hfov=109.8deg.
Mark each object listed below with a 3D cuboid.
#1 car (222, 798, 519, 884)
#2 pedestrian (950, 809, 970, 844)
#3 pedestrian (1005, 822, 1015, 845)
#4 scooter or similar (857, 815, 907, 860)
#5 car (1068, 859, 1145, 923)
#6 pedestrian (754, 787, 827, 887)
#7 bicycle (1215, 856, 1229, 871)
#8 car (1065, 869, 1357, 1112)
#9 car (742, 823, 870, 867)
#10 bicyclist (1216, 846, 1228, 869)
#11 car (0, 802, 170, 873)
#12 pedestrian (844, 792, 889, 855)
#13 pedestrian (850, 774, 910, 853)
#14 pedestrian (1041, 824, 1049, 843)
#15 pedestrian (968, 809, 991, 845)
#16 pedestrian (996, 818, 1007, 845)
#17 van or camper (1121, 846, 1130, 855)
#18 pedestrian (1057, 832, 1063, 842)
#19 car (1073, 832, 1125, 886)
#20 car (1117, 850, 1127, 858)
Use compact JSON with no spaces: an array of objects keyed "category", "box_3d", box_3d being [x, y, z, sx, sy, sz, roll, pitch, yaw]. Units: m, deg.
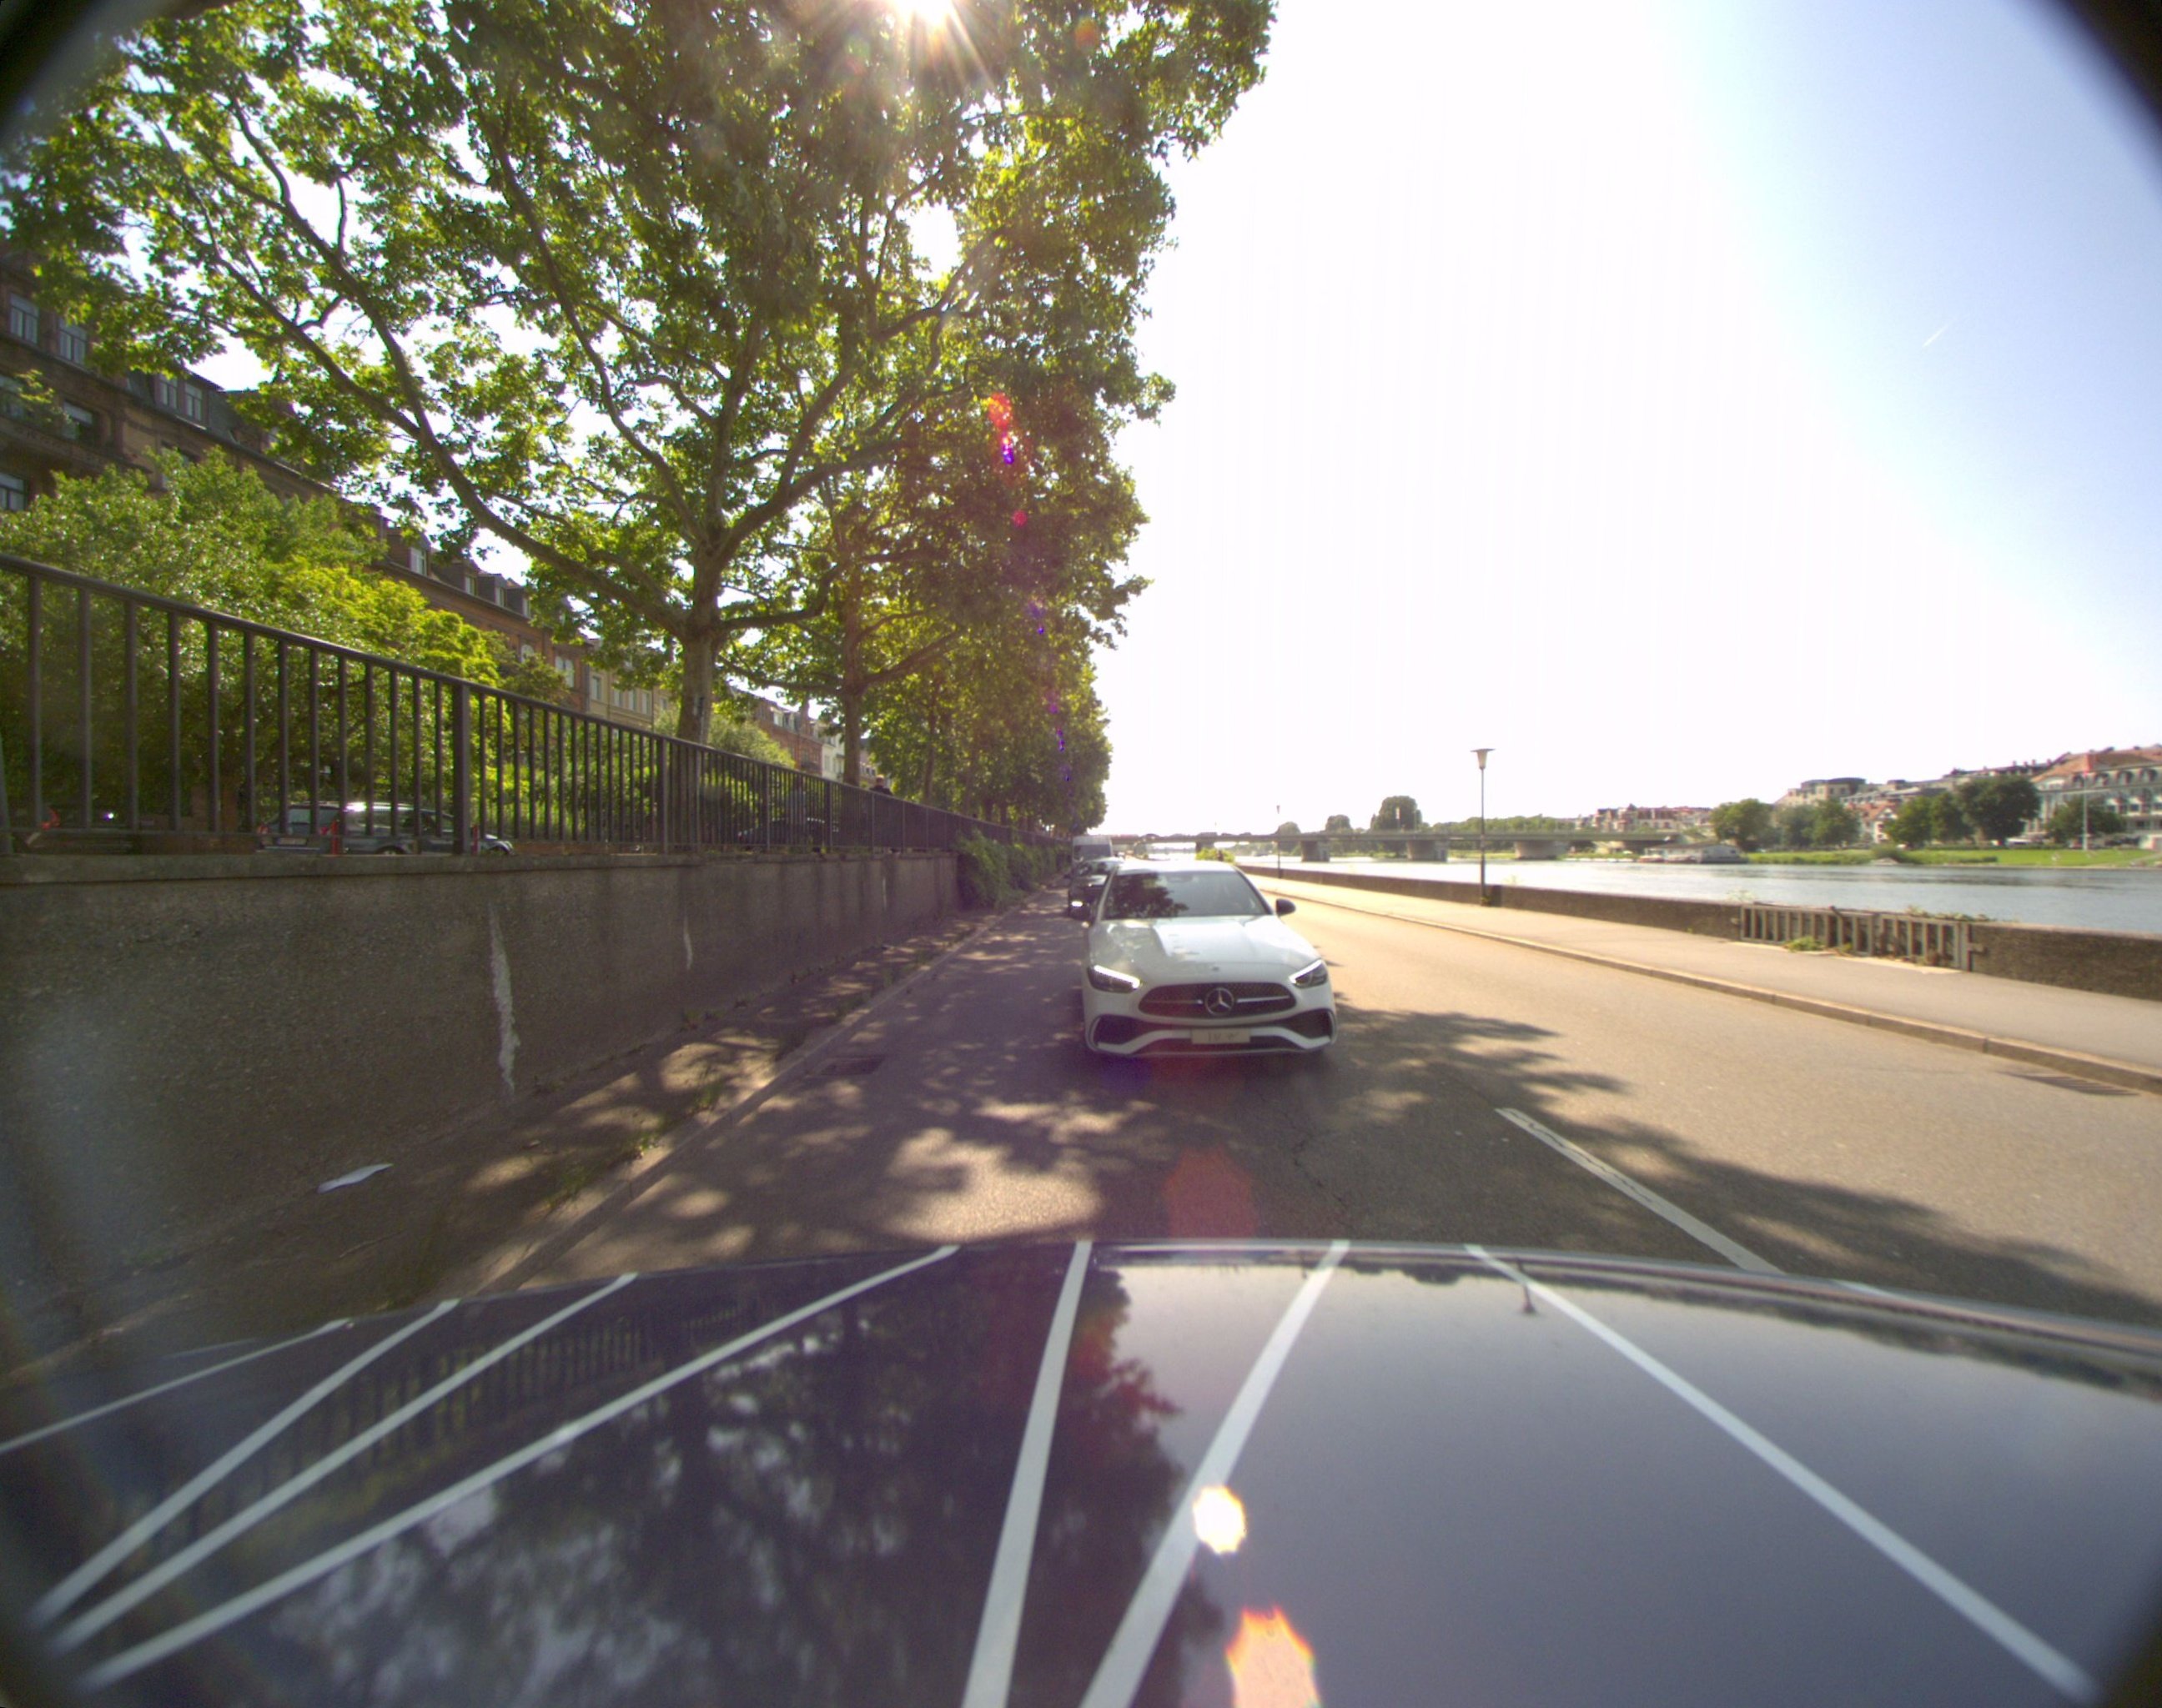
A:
[{"category":"car","box_3d":[-14.300,-0.240,15.743,1.841,1.504,4.429,1,0,3]},{"category":"pedestrian","box_3d":[-4.868,-1.082,30.480,0.645,1.358,0.794,2,1,-1]},{"category":"pedestrian","box_3d":[-4.419,-1.300,47.512,0.586,1.411,0.589,0,1,-7]},{"category":"scooter or similar","box_3d":[-4.723,-0.382,18.092,0.857,1.020,1.107,2,1,0]},{"category":"car","box_3d":[0.612,0.885,20.011,1.756,1.385,4.619,-2,0,0]},{"category":"pedestrian","box_3d":[-4.323,-0.244,11.354,0.682,1.416,0.949,2,1,0]},{"category":"bicycle","box_3d":[10.134,0.665,54.588,0.634,1.006,1.985,0,0,0]},{"category":"car","box_3d":[0.887,0.920,7.143,1.830,1.411,4.552,-2,0,1]},{"category":"car","box_3d":[-8.759,-0.283,24.268,3.528,1.228,1.515,2,1,11]},{"category":"bicyclist","box_3d":[10.128,0.248,54.587,0.639,1.664,0.871,0,1,0]},{"category":"car","box_3d":[-24.051,-0.338,17.590,3.794,1.528,1.792,-1,0,1]},{"category":"pedestrian","box_3d":[-4.827,-0.671,17.136,0.682,1.358,0.989,2,1,0]},{"category":"pedestrian","box_3d":[-4.173,-0.822,15.826,0.939,1.570,1.027,2,1,-1]},{"category":"pedestrian","box_3d":[-3.048,-1.725,64.621,0.666,1.582,0.651,0,1,1]},{"category":"pedestrian","box_3d":[-4.022,-1.056,30.131,0.755,1.358,0.814,2,1,-1]},{"category":"pedestrian","box_3d":[-4.973,-1.398,47.390,0.649,1.631,0.626,0,1,-7]},{"category":"van or camper","box_3d":[12.127,-0.848,207.091,2.082,2.384,5.384,1,0,1]},{"category":"pedestrian","box_3d":[-2.571,-2.142,93.752,0.713,1.236,0.742,0,1,0]},{"category":"car","box_3d":[0.837,0.213,37.536,2.351,2.429,6.208,0,0,0]},{"category":"car","box_3d":[8.113,-0.042,149.237,1.736,1.433,4.045,1,0,0]}]
